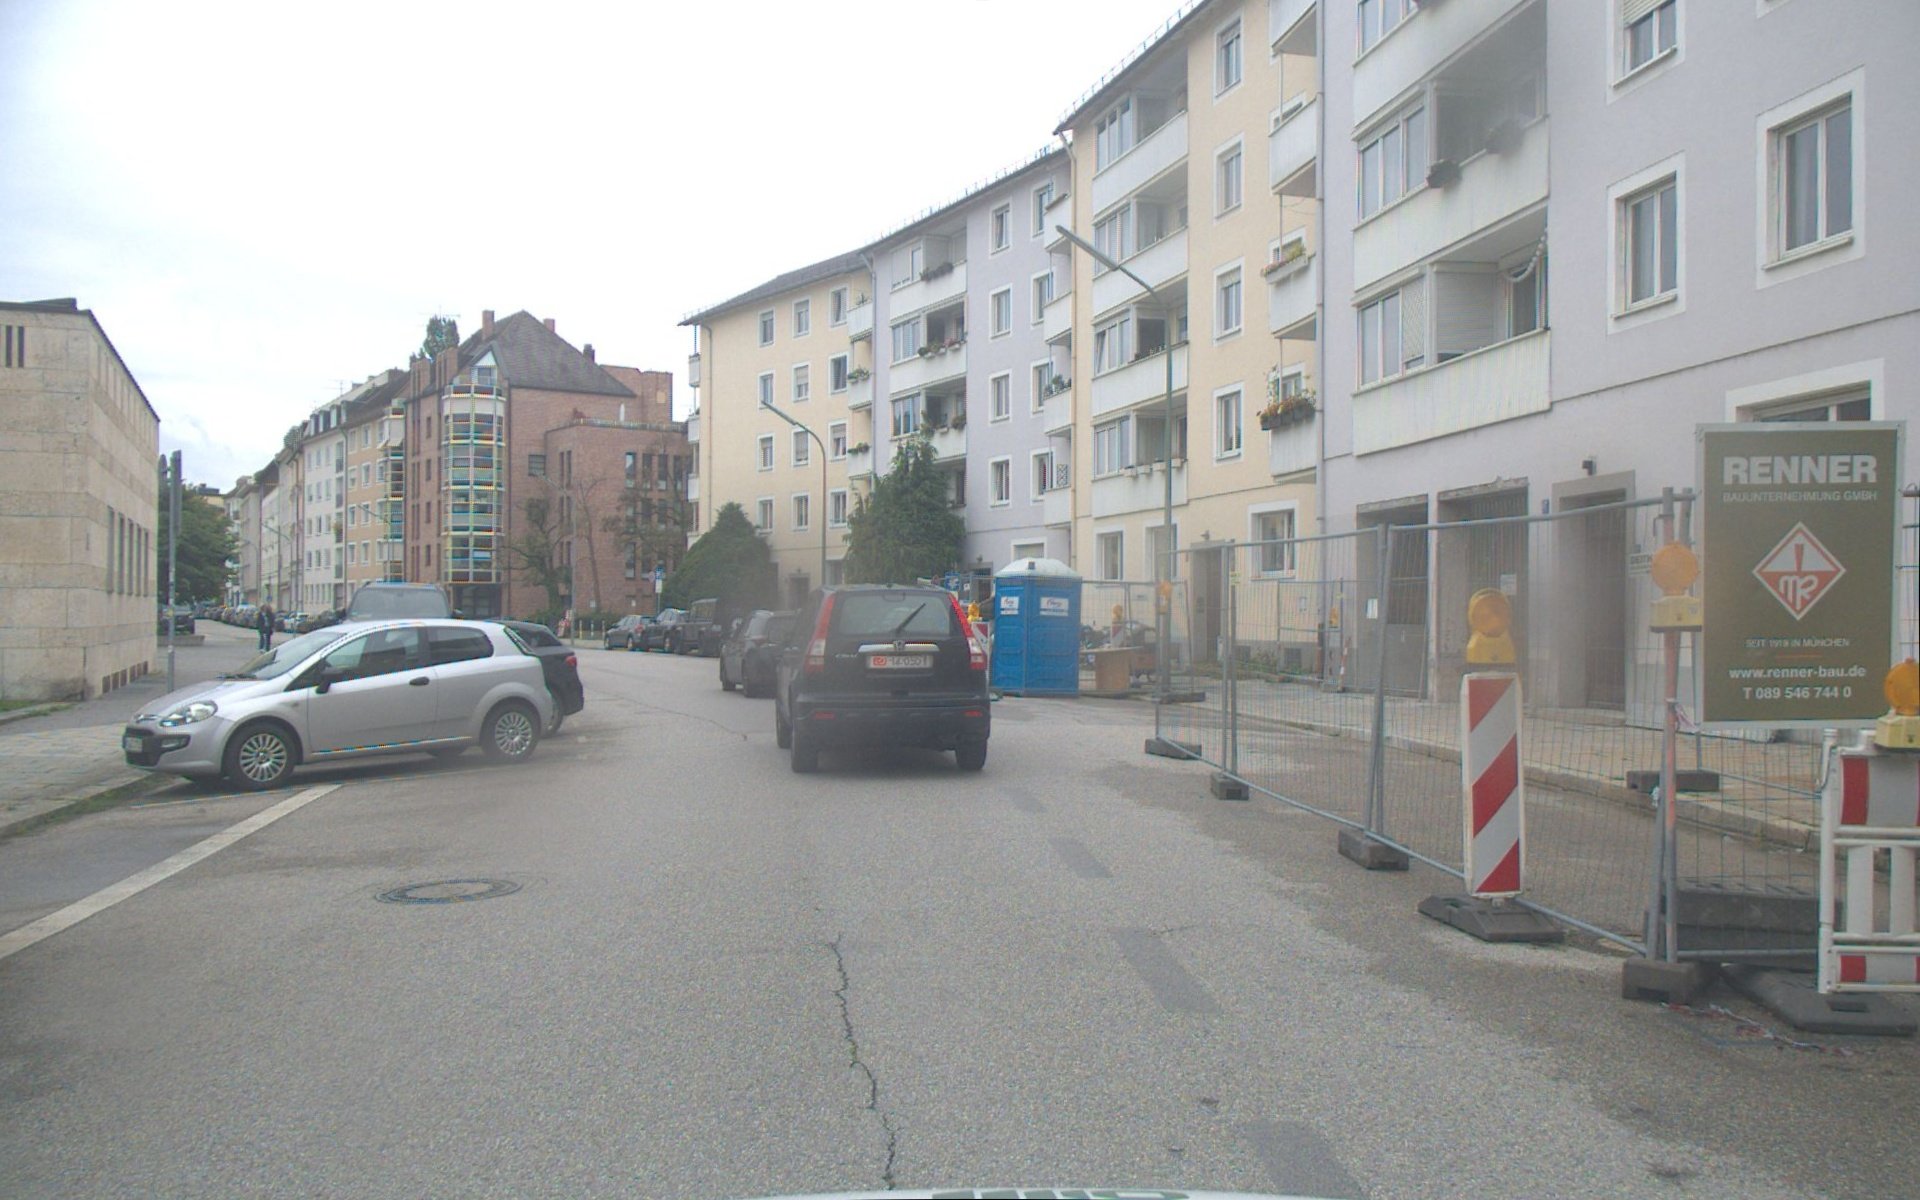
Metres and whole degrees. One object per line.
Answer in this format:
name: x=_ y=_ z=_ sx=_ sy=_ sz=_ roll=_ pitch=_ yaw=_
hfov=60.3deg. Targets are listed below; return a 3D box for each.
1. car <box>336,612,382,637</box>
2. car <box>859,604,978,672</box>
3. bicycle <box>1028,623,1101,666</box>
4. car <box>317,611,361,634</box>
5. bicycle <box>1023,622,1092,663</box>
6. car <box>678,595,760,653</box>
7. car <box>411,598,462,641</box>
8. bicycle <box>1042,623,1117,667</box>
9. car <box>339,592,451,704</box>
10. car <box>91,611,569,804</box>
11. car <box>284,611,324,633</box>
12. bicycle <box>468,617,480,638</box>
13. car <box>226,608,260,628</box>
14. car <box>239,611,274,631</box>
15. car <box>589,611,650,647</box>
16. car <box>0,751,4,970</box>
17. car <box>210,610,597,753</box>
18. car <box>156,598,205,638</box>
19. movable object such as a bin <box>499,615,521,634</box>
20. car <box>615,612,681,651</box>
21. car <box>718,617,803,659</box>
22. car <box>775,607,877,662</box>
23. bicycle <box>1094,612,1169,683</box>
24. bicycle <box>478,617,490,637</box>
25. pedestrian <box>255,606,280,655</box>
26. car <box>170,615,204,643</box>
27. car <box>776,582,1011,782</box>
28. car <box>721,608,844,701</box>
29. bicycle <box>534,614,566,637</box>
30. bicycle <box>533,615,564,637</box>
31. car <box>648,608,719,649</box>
car: x=-38.833 y=1.551 z=106.830 sx=1.792 sy=1.498 sz=4.067 roll=1 pitch=0 yaw=-35
car: x=-1.060 y=0.886 z=39.878 sx=1.699 sy=1.509 sz=3.976 roll=1 pitch=0 yaw=-20
bicycle: x=2.774 y=1.179 z=43.923 sx=1.835 sy=1.110 sz=0.643 roll=0 pitch=-1 yaw=-15
car: x=-41.517 y=1.487 z=110.483 sx=1.792 sy=1.498 sz=4.067 roll=1 pitch=0 yaw=-35
bicycle: x=2.711 y=1.187 z=45.975 sx=1.835 sy=1.110 sz=0.643 roll=0 pitch=-1 yaw=-15
car: x=-8.459 y=0.817 z=57.753 sx=1.703 sy=1.911 sz=3.967 roll=1 pitch=0 yaw=-26
car: x=-24.853 y=0.901 z=78.408 sx=1.690 sy=1.980 sz=3.965 roll=1 pitch=0 yaw=-27
bicycle: x=3.042 y=1.140 z=42.274 sx=1.835 sy=1.110 sz=0.563 roll=0 pitch=-1 yaw=-15
car: x=-9.578 y=0.757 z=28.073 sx=1.654 sy=1.737 sz=4.488 roll=0 pitch=0 yaw=-19
car: x=-6.102 y=0.993 z=16.309 sx=4.055 sy=1.507 sz=1.658 roll=-3 pitch=-2 yaw=-44
car: x=-46.820 y=1.539 z=117.992 sx=1.792 sy=1.498 sz=4.067 roll=1 pitch=0 yaw=-35
bicycle: x=-31.367 y=1.785 z=106.747 sx=0.543 sy=1.311 sz=1.748 roll=1 pitch=0 yaw=-22
car: x=-58.511 y=1.461 z=135.030 sx=1.792 sy=1.498 sz=4.067 roll=1 pitch=0 yaw=-35
car: x=-55.812 y=1.654 z=131.206 sx=1.792 sy=1.498 sz=4.067 roll=1 pitch=0 yaw=-35
car: x=-14.332 y=1.209 z=69.494 sx=1.677 sy=1.413 sz=3.572 roll=1 pitch=0 yaw=-26
car: x=-4.874 y=0.270 z=4.021 sx=2.123 sy=2.688 sz=6.009 roll=-1 pitch=0 yaw=-6
car: x=-6.518 y=0.887 z=19.616 sx=4.051 sy=1.507 sz=1.659 roll=1 pitch=-1 yaw=-42
car: x=-35.392 y=0.802 z=75.033 sx=1.894 sy=1.777 sz=4.736 roll=1 pitch=0 yaw=-27
movable object such as a bin: x=-27.711 y=1.497 z=101.806 sx=0.954 sy=1.104 sz=1.968 roll=1 pitch=0 yaw=-25
car: x=-12.407 y=1.238 z=65.678 sx=1.677 sy=1.413 sz=3.572 roll=1 pitch=0 yaw=-26
car: x=-6.511 y=1.206 z=53.657 sx=1.677 sy=1.258 sz=3.572 roll=1 pitch=0 yaw=-26
car: x=-4.030 y=0.997 z=49.213 sx=1.703 sy=1.509 sz=3.967 roll=1 pitch=0 yaw=-26
bicycle: x=3.547 y=0.964 z=34.439 sx=0.950 sy=1.413 sz=2.559 roll=1 pitch=0 yaw=-8
bicycle: x=-30.838 y=1.737 z=107.115 sx=0.543 sy=1.311 sz=1.748 roll=1 pitch=0 yaw=-22
pedestrian: x=-24.746 y=1.090 z=59.116 sx=0.740 sy=1.733 sz=0.921 roll=1 pitch=0 yaw=-21
car: x=-51.157 y=1.913 z=109.429 sx=1.894 sy=1.777 sz=4.736 roll=1 pitch=0 yaw=-27
car: x=-0.773 y=0.703 z=16.033 sx=1.856 sy=1.676 sz=3.983 roll=0 pitch=0 yaw=-9
car: x=-3.184 y=0.900 z=29.115 sx=1.650 sy=1.507 sz=4.072 roll=0 pitch=0 yaw=-13
bicycle: x=-23.921 y=1.509 z=96.495 sx=1.730 sy=1.311 sz=0.549 roll=1 pitch=-1 yaw=-24
bicycle: x=-24.172 y=1.537 z=97.110 sx=1.730 sy=1.311 sz=0.549 roll=1 pitch=-1 yaw=-24
car: x=-10.358 y=1.047 z=61.783 sx=1.677 sy=1.413 sz=3.572 roll=1 pitch=0 yaw=-26
